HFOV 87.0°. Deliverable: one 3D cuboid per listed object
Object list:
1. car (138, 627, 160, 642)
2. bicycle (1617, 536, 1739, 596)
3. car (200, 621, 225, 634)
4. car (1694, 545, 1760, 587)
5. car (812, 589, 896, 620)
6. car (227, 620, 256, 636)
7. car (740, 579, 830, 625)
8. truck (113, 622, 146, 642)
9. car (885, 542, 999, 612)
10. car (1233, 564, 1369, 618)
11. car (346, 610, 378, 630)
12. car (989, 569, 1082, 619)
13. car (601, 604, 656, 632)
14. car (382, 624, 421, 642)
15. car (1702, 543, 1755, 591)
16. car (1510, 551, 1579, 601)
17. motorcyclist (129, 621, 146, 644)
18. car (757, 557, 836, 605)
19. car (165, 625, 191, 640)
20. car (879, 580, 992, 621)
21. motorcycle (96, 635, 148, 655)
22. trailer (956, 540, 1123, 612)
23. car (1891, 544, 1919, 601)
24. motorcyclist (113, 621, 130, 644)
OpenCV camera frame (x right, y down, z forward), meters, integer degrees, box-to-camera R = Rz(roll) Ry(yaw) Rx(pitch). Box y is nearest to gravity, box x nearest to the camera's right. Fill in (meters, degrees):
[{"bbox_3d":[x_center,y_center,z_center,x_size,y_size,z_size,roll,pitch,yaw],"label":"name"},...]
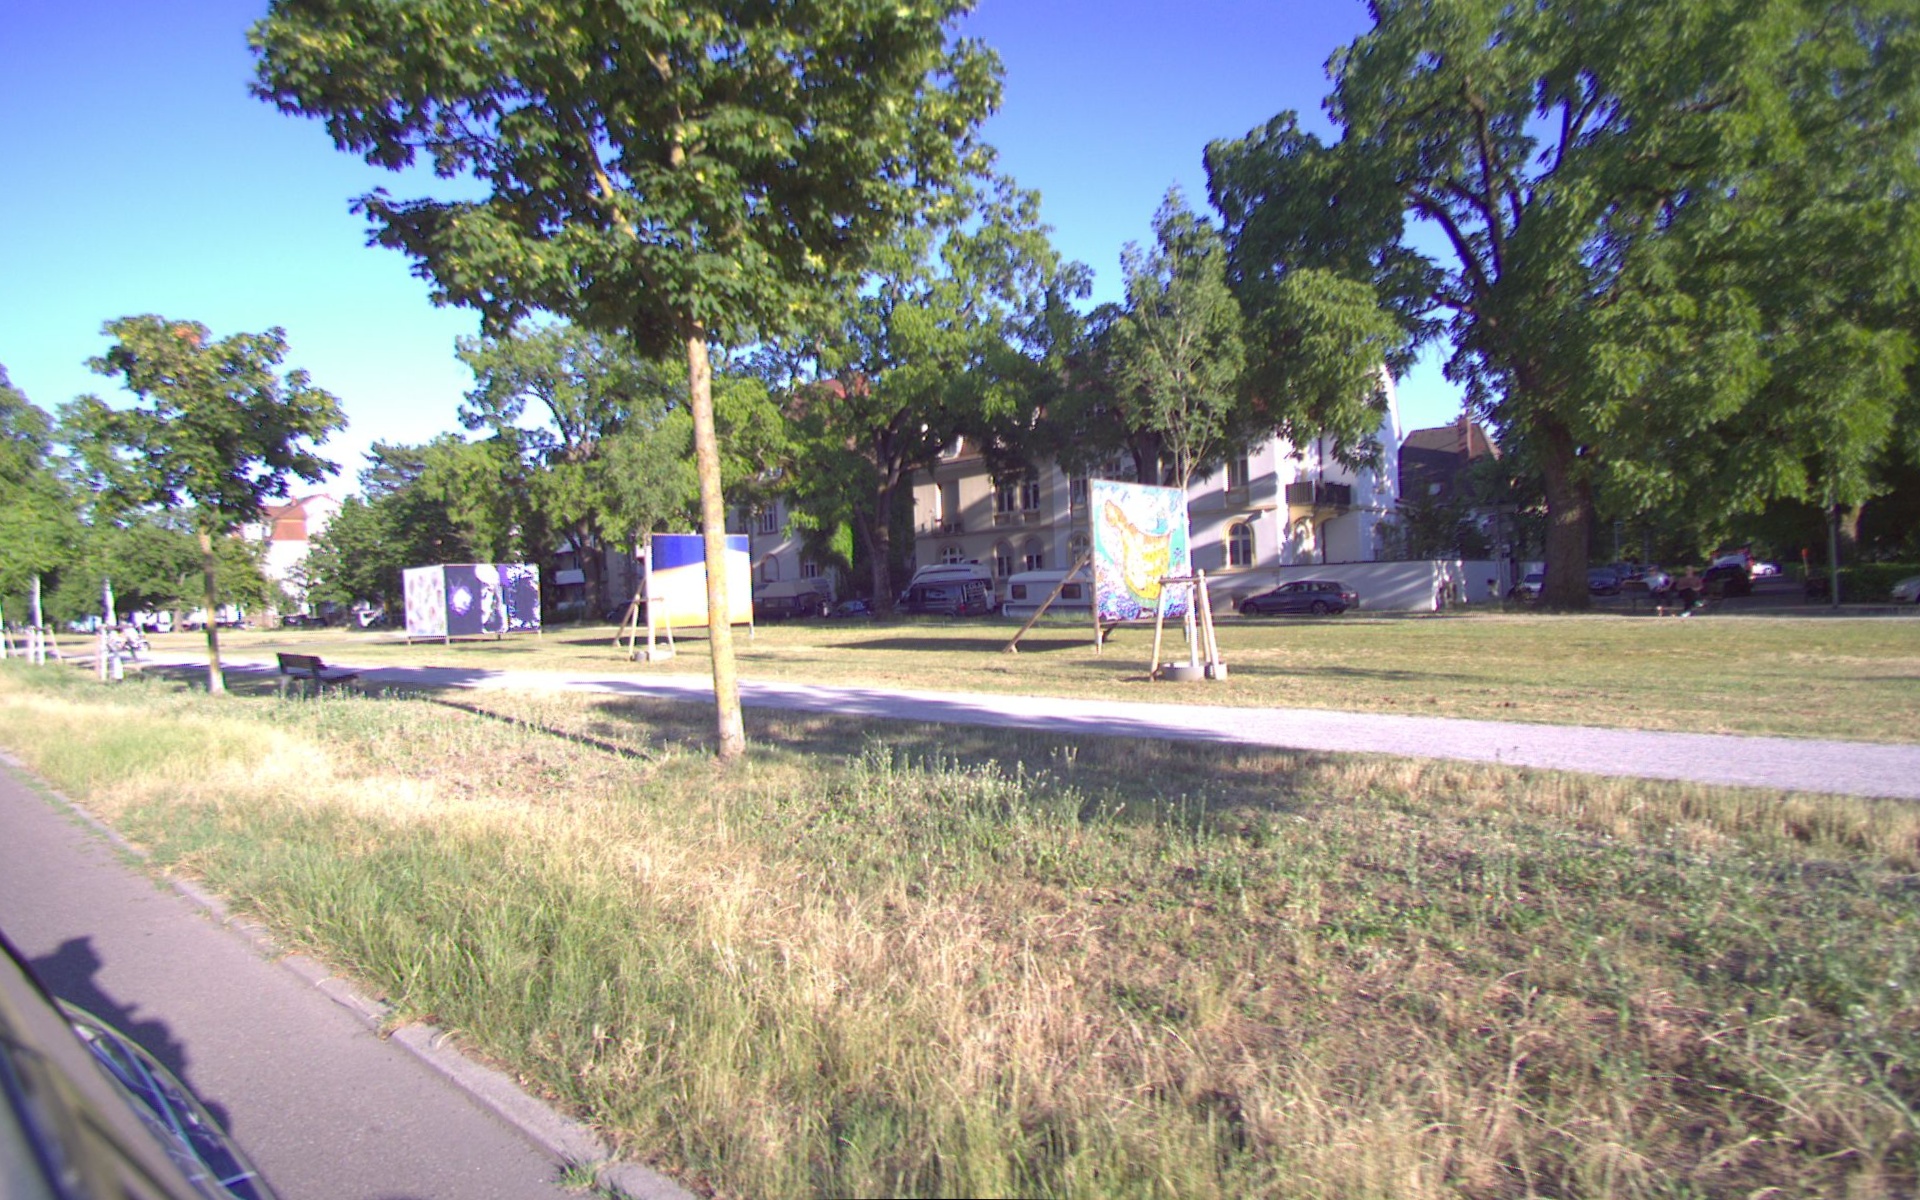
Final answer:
[{"bbox_3d":[-123.780,5.272,154.443,4.001,2.029,1.971,-3,0,44],"label":"car"},{"bbox_3d":[17.400,-0.799,24.566,2.331,1.352,0.505,-2,1,45],"label":"bicycle"},{"bbox_3d":[-110.116,4.107,149.034,3.995,1.859,1.974,0,-2,39],"label":"car"},{"bbox_3d":[33.926,-1.501,44.728,2.178,1.692,4.093,-2,1,39],"label":"car"},{"bbox_3d":[-5.118,0.231,48.538,4.043,1.325,1.832,-1,2,44],"label":"car"},{"bbox_3d":[-85.479,3.327,120.344,3.999,1.715,1.973,-3,0,42],"label":"car"},{"bbox_3d":[-9.031,0.125,52.066,4.566,2.191,1.974,-3,0,39],"label":"car"},{"bbox_3d":[-135.403,5.233,164.904,7.705,3.170,2.750,-2,0,40],"label":"truck"},{"bbox_3d":[-1.006,-1.131,52.543,6.072,3.274,1.973,-3,0,42],"label":"car"},{"bbox_3d":[13.426,-0.345,40.027,4.713,1.926,1.870,-2,1,42],"label":"car"},{"bbox_3d":[-64.652,2.209,109.408,4.001,2.029,1.971,-2,0,44],"label":"car"},{"bbox_3d":[3.559,-0.259,48.110,3.999,2.170,1.972,-2,1,42],"label":"car"},{"bbox_3d":[-23.894,1.309,72.931,4.281,1.838,1.605,-3,0,37],"label":"car"},{"bbox_3d":[-47.160,2.800,85.474,3.637,1.427,1.542,-3,0,37],"label":"car"},{"bbox_3d":[36.995,-1.611,48.685,1.869,2.139,3.948,-2,1,39],"label":"car"},{"bbox_3d":[24.644,-1.038,42.628,1.978,1.914,4.471,-2,1,37],"label":"car"},{"bbox_3d":[-43.419,1.704,53.419,0.567,1.158,0.751,-3,0,-44],"label":"motorcyclist"},{"bbox_3d":[-9.836,-1.090,60.590,5.043,2.660,1.924,0,-2,42],"label":"car"},{"bbox_3d":[-108.866,4.560,140.863,3.997,2.029,2.098,0,-2,40],"label":"car"},{"bbox_3d":[-1.126,0.028,45.126,4.948,1.654,1.974,-1,2,40],"label":"car"},{"bbox_3d":[-43.849,2.337,52.990,2.079,0.964,0.567,-1,0,-42],"label":"motorcycle"},{"bbox_3d":[3.128,-0.873,41.140,6.633,2.679,2.447,0,-2,41],"label":"trailer"},{"bbox_3d":[27.854,-0.819,27.354,3.806,1.554,1.974,-2,1,40],"label":"car"},{"bbox_3d":[-43.877,1.716,52.946,0.567,1.158,0.751,-3,0,-44],"label":"motorcyclist"}]
